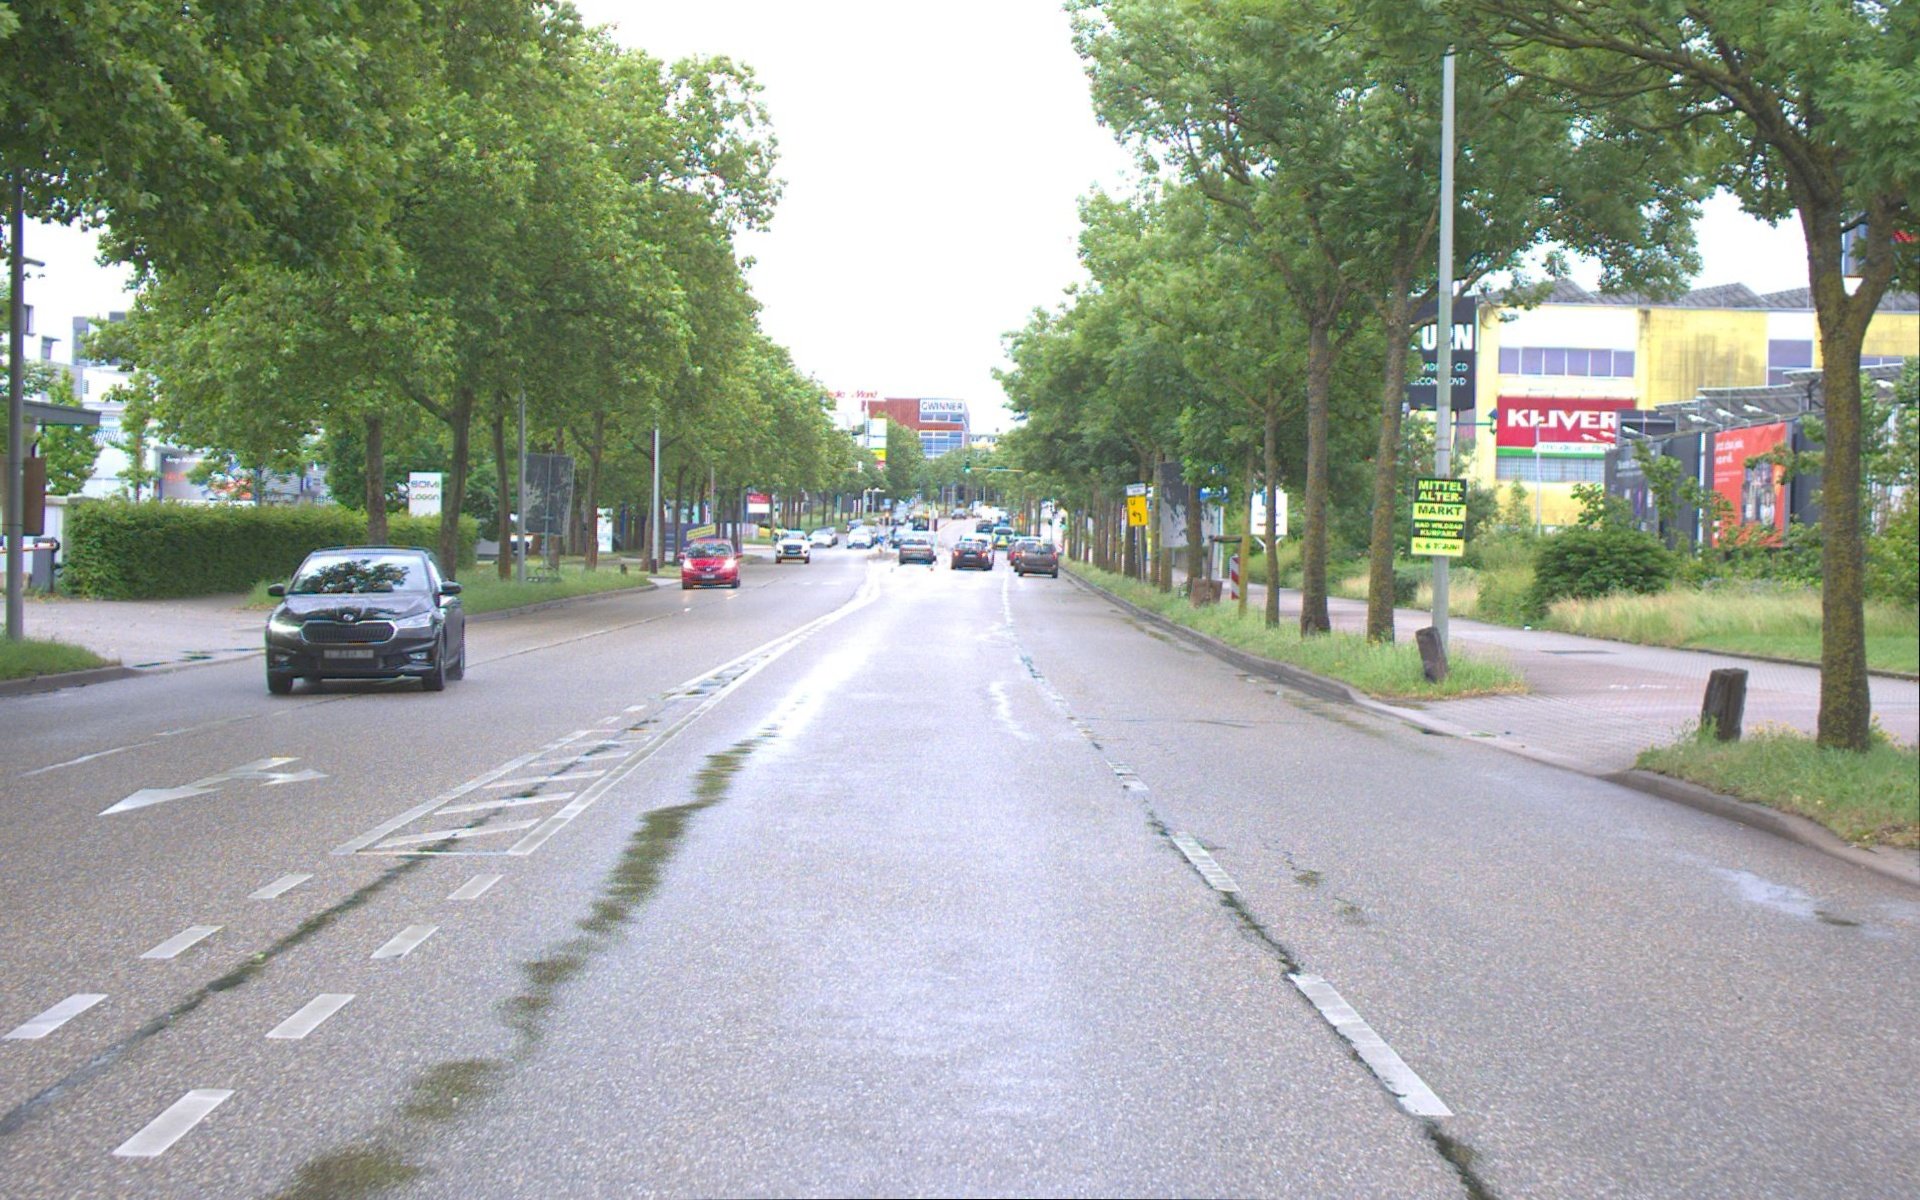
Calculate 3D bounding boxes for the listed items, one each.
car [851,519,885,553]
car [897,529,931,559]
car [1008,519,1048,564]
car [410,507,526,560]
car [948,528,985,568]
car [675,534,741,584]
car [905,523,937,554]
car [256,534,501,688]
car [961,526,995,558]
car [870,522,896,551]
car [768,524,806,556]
[{"bbox_3d":[-5.608,-3.919,210.053,1.993,2.007,4.000,0,1,0],"label":"car"},{"bbox_3d":[-2.609,-3.222,196.878,1.745,1.695,4.000,0,1,2],"label":"car"},{"bbox_3d":[3.120,-2.691,157.297,1.745,2.007,4.000,0,1,2],"label":"car"},{"bbox_3d":[-18.140,-2.466,126.870,3.987,1.918,1.826,0,0,1],"label":"car"},{"bbox_3d":[0.355,-2.653,174.083,1.745,2.007,4.000,0,1,2],"label":"car"},{"bbox_3d":[-7.761,-1.277,106.255,1.726,1.512,3.821,0,1,0],"label":"car"},{"bbox_3d":[-2.378,-3.787,211.577,1.891,1.870,4.124,0,1,0],"label":"car"},{"bbox_3d":[-5.837,0.068,34.937,1.804,1.458,3.846,0,1,0],"label":"car"},{"bbox_3d":[1.015,-3.186,187.618,1.745,1.731,4.000,0,1,2],"label":"car"},{"bbox_3d":[-5.356,-4.427,238.880,1.827,2.007,4.000,0,1,-2],"label":"car"},{"bbox_3d":[-9.565,-3.336,190.164,1.704,1.731,4.000,1,1,3],"label":"car"}]
